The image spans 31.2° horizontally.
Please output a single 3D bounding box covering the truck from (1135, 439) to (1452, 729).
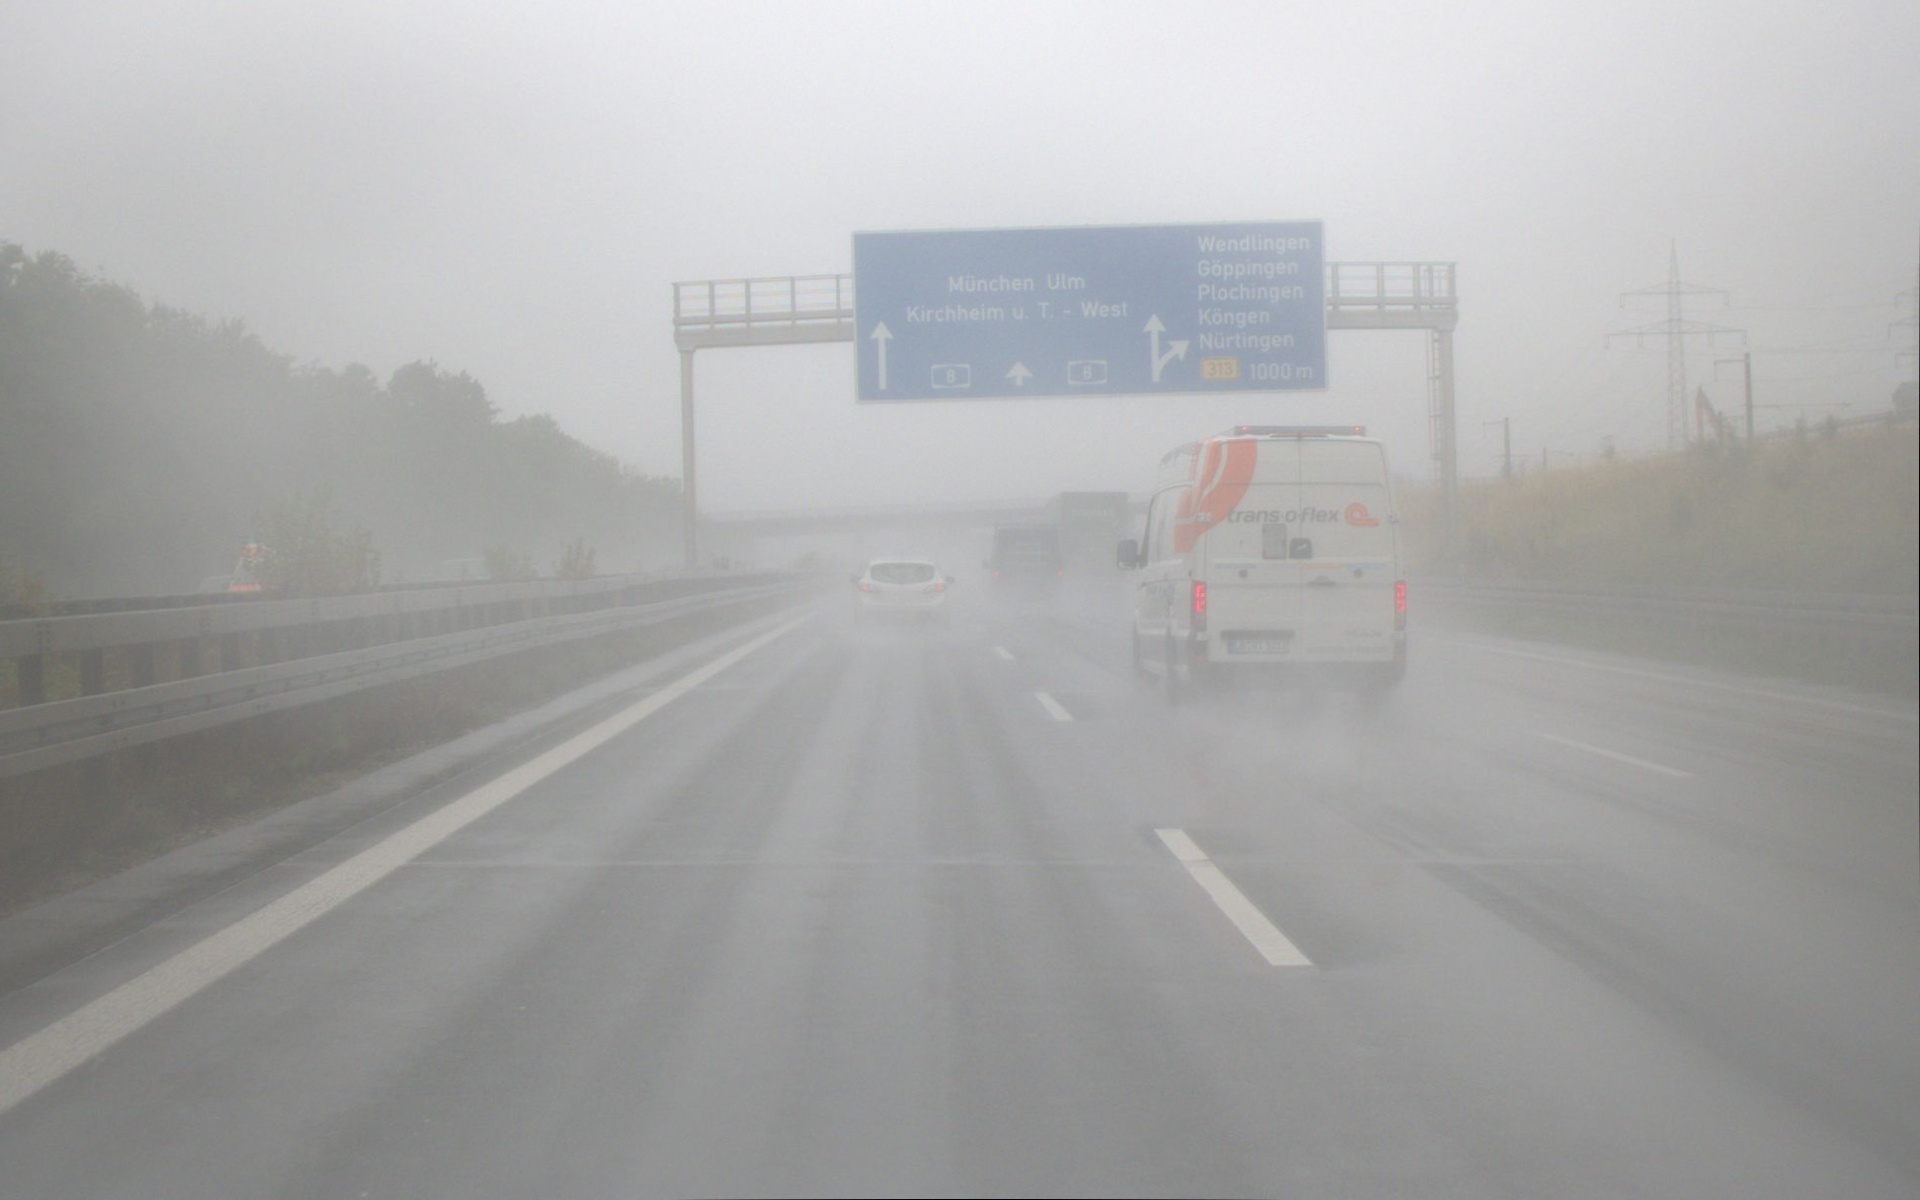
[{"bbox_3d":[3.025,-0.214,32.503,2.419,2.484,5.560,1,2,0],"label":"truck"}]

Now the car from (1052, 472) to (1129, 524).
[{"bbox_3d":[5.128,-4.021,135.804,2.788,2.006,4.993,1,2,-1],"label":"car"}]

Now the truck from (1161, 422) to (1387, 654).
[{"bbox_3d":[6.699,-1.321,76.304,3.039,4.572,16.352,0,1,-2],"label":"truck"}]
